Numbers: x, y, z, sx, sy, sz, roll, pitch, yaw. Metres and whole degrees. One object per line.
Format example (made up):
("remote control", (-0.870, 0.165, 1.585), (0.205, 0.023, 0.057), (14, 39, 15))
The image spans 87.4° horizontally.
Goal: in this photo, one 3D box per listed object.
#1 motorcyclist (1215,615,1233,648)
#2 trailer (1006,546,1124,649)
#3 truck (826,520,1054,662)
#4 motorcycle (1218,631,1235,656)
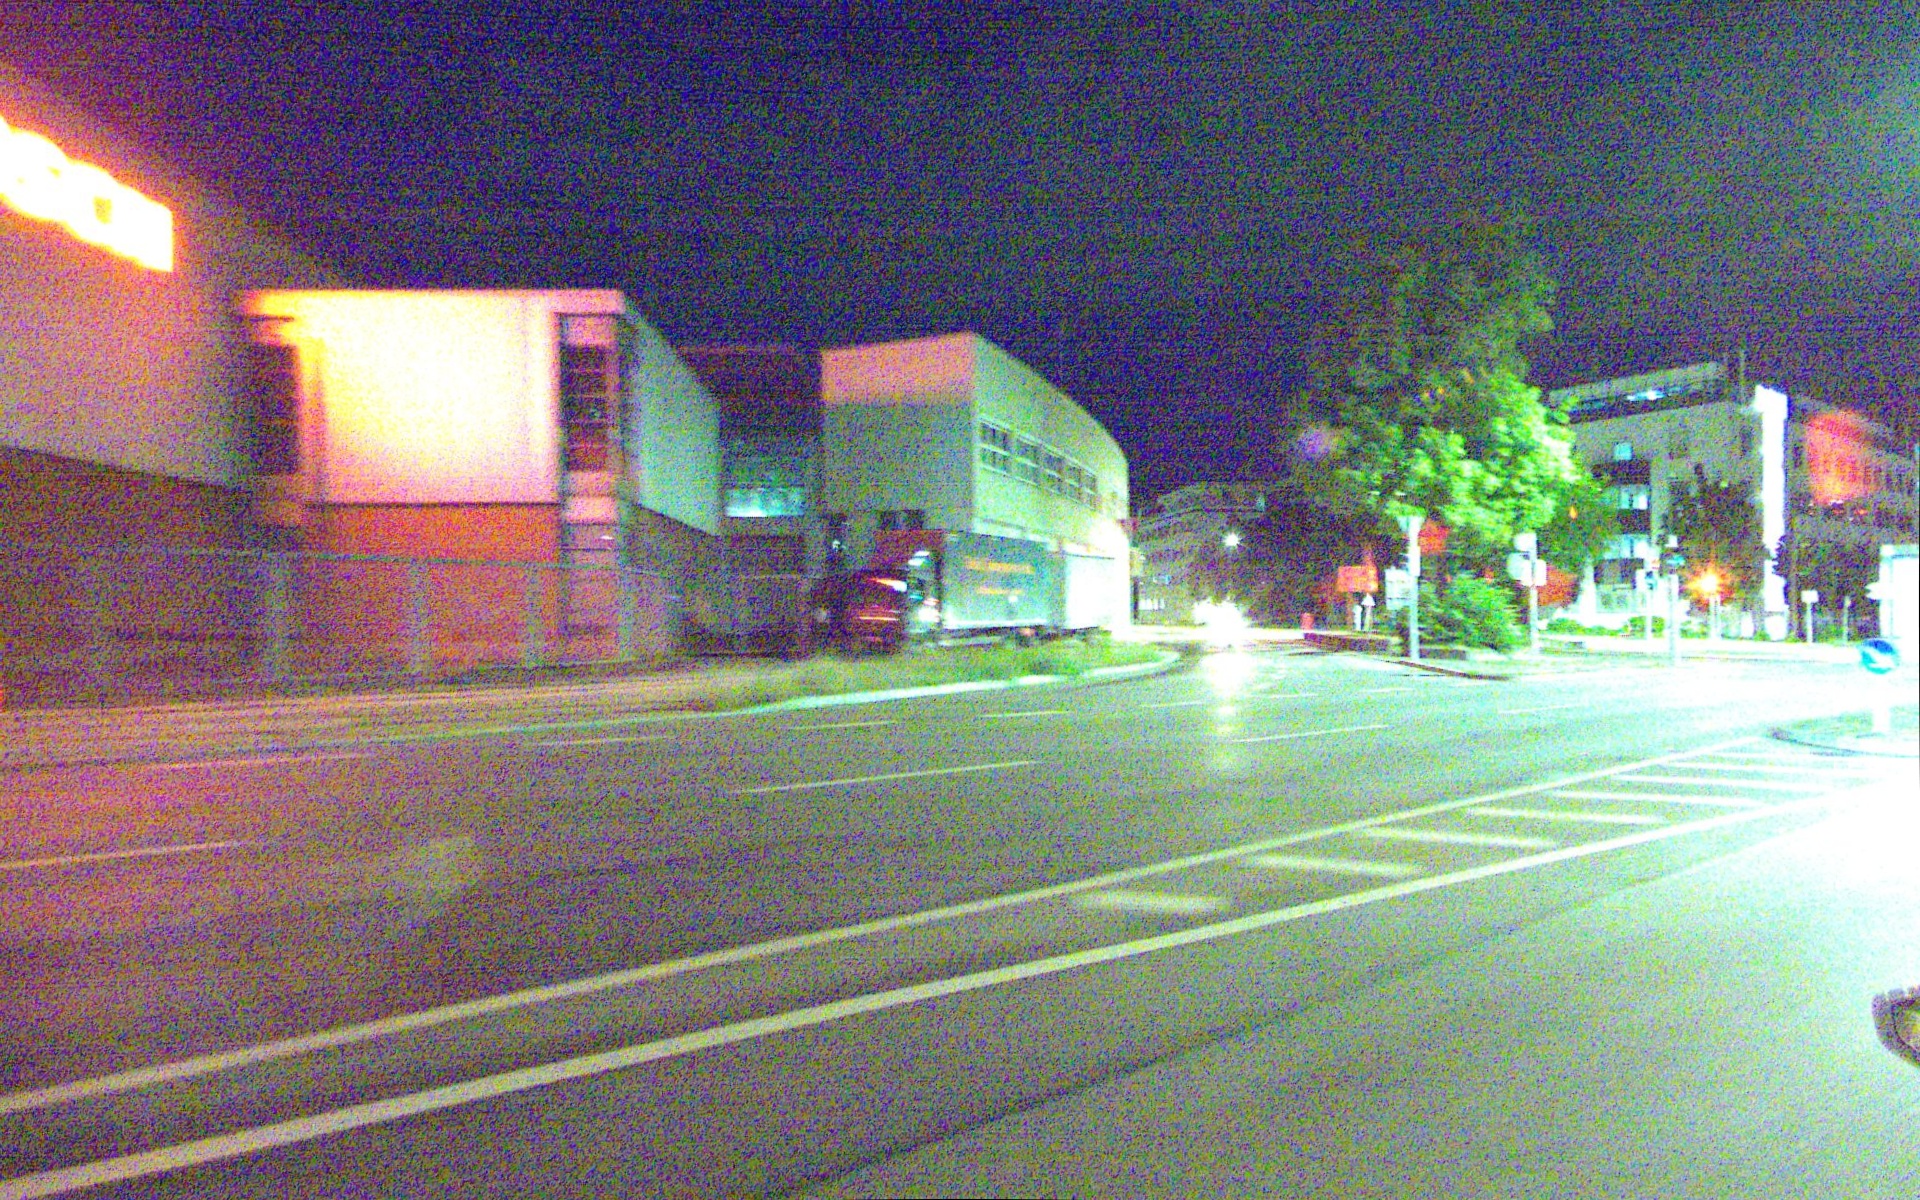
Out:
("motorcyclist", (10.301, 1.234, 39.181), (0.635, 1.278, 0.579), (1, -1, 13))
("trailer", (4.401, -0.030, 40.878), (2.573, 3.841, 6.507), (1, -1, 27))
("truck", (-0.241, -0.128, 32.050), (2.894, 3.846, 9.543), (1, -1, 29))
("motorcycle", (10.414, 1.688, 39.274), (0.568, 0.907, 2.157), (-2, -2, 13))
